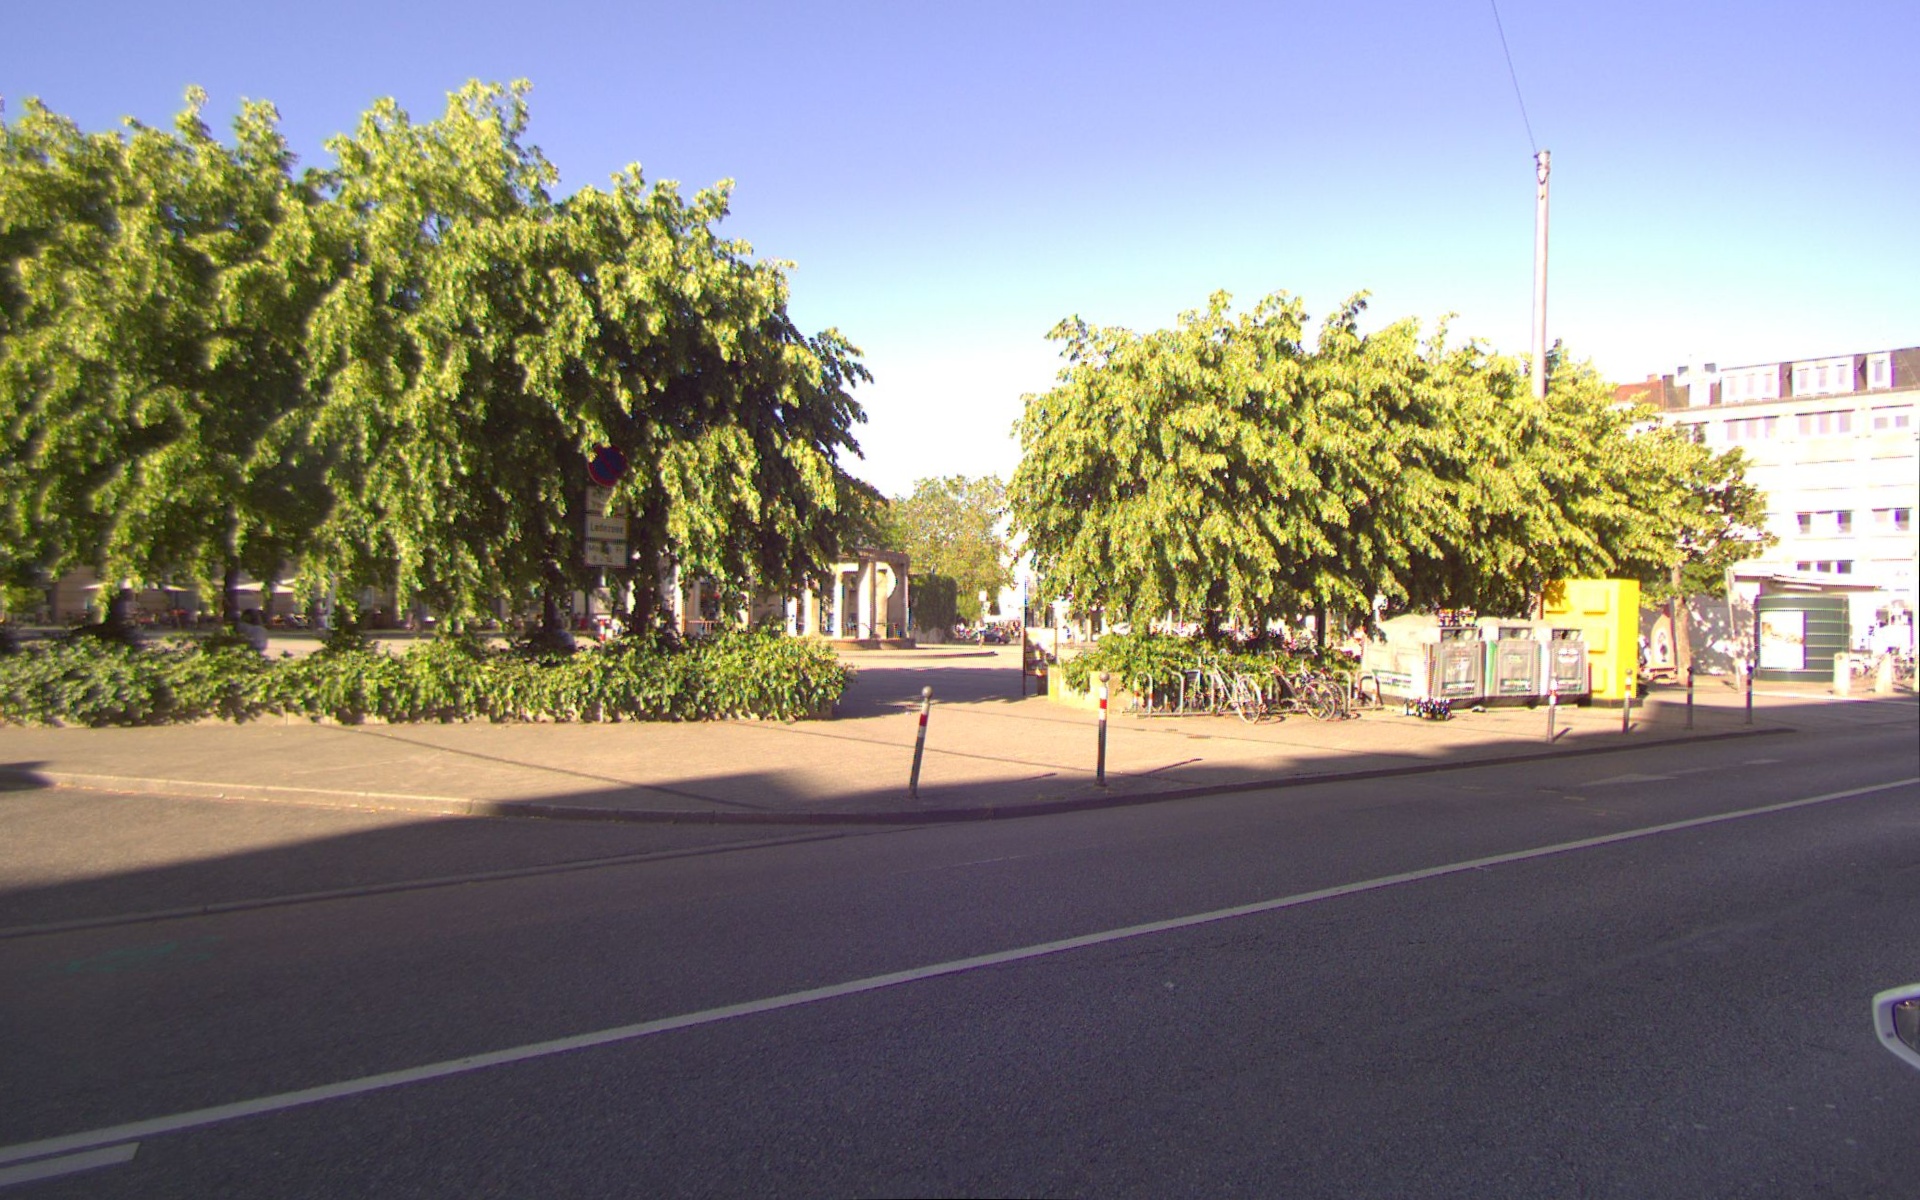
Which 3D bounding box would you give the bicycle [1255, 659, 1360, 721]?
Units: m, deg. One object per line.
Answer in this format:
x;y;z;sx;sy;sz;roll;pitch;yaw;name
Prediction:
5.673;1.452;16.489;0.465;0.870;1.654;2;0;-35;bicycle

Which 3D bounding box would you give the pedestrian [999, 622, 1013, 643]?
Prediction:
4.171;2.982;91.592;0.935;1.845;0.862;2;0;31;pedestrian

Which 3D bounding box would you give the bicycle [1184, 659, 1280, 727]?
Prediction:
4.177;1.409;15.531;0.464;0.897;1.558;2;0;-29;bicycle

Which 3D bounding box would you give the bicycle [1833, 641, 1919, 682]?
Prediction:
31.225;2.059;33.767;0.932;1.211;2.645;2;0;-32;bicycle

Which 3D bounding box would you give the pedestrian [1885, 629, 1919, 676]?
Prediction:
34.167;1.890;36.134;1.255;1.633;1.084;2;0;-38;pedestrian

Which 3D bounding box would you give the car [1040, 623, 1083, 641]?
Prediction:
9.421;2.942;93.062;1.538;1.550;4.086;1;-1;-39;car

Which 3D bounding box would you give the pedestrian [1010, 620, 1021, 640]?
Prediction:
5.376;2.902;97.351;0.891;1.845;0.952;2;0;17;pedestrian

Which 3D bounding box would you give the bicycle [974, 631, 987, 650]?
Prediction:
1.269;2.476;61.433;0.593;1.116;1.990;2;0;6;bicycle

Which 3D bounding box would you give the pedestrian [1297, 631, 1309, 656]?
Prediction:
21.754;2.740;63.761;0.614;1.544;0.579;2;0;25;pedestrian

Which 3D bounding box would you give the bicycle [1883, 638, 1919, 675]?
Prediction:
35.266;2.079;36.135;0.932;1.287;2.859;2;0;-32;bicycle

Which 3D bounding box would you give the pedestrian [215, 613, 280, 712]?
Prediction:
-10.848;0.933;15.307;0.581;1.456;0.615;2;0;33;pedestrian

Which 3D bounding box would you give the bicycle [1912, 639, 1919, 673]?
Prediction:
37.250;2.150;37.279;0.932;1.276;2.648;2;0;-32;bicycle

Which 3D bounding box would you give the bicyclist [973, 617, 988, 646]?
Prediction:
1.267;1.925;61.220;0.772;1.722;0.896;2;0;5;bicyclist

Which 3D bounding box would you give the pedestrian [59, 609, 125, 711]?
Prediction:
-12.856;0.870;14.890;0.615;1.456;0.647;2;0;-32;pedestrian

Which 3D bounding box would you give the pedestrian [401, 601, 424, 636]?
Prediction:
-25.212;0.845;46.240;0.735;1.550;0.685;2;0;-43;pedestrian

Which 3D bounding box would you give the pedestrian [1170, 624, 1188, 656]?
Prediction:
11.083;2.027;50.845;0.761;1.541;0.838;2;0;6;pedestrian

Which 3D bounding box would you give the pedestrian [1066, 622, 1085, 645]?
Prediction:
9.685;2.819;84.203;1.277;1.867;1.100;2;0;28;pedestrian

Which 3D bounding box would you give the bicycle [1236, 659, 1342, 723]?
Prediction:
5.277;1.441;16.190;0.465;0.870;1.659;2;0;-35;bicycle

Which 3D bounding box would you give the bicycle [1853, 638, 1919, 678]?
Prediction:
33.147;2.035;35.069;0.923;1.291;2.764;2;0;-32;bicycle

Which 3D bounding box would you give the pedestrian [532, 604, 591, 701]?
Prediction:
-6.561;0.845;16.541;0.688;1.541;0.676;2;0;-41;pedestrian

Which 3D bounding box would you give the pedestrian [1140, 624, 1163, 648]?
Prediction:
10.347;1.951;54.274;0.855;1.230;0.933;2;0;-15;pedestrian

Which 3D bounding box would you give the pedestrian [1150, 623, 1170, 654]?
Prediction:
10.281;1.985;51.578;0.904;1.541;0.936;2;0;15;pedestrian

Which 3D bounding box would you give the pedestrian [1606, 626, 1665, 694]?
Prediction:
16.079;1.411;23.914;0.685;1.564;0.919;2;0;-22;pedestrian

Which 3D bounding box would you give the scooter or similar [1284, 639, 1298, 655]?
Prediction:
21.120;2.972;64.080;0.775;0.970;0.464;2;0;25;scooter or similar
